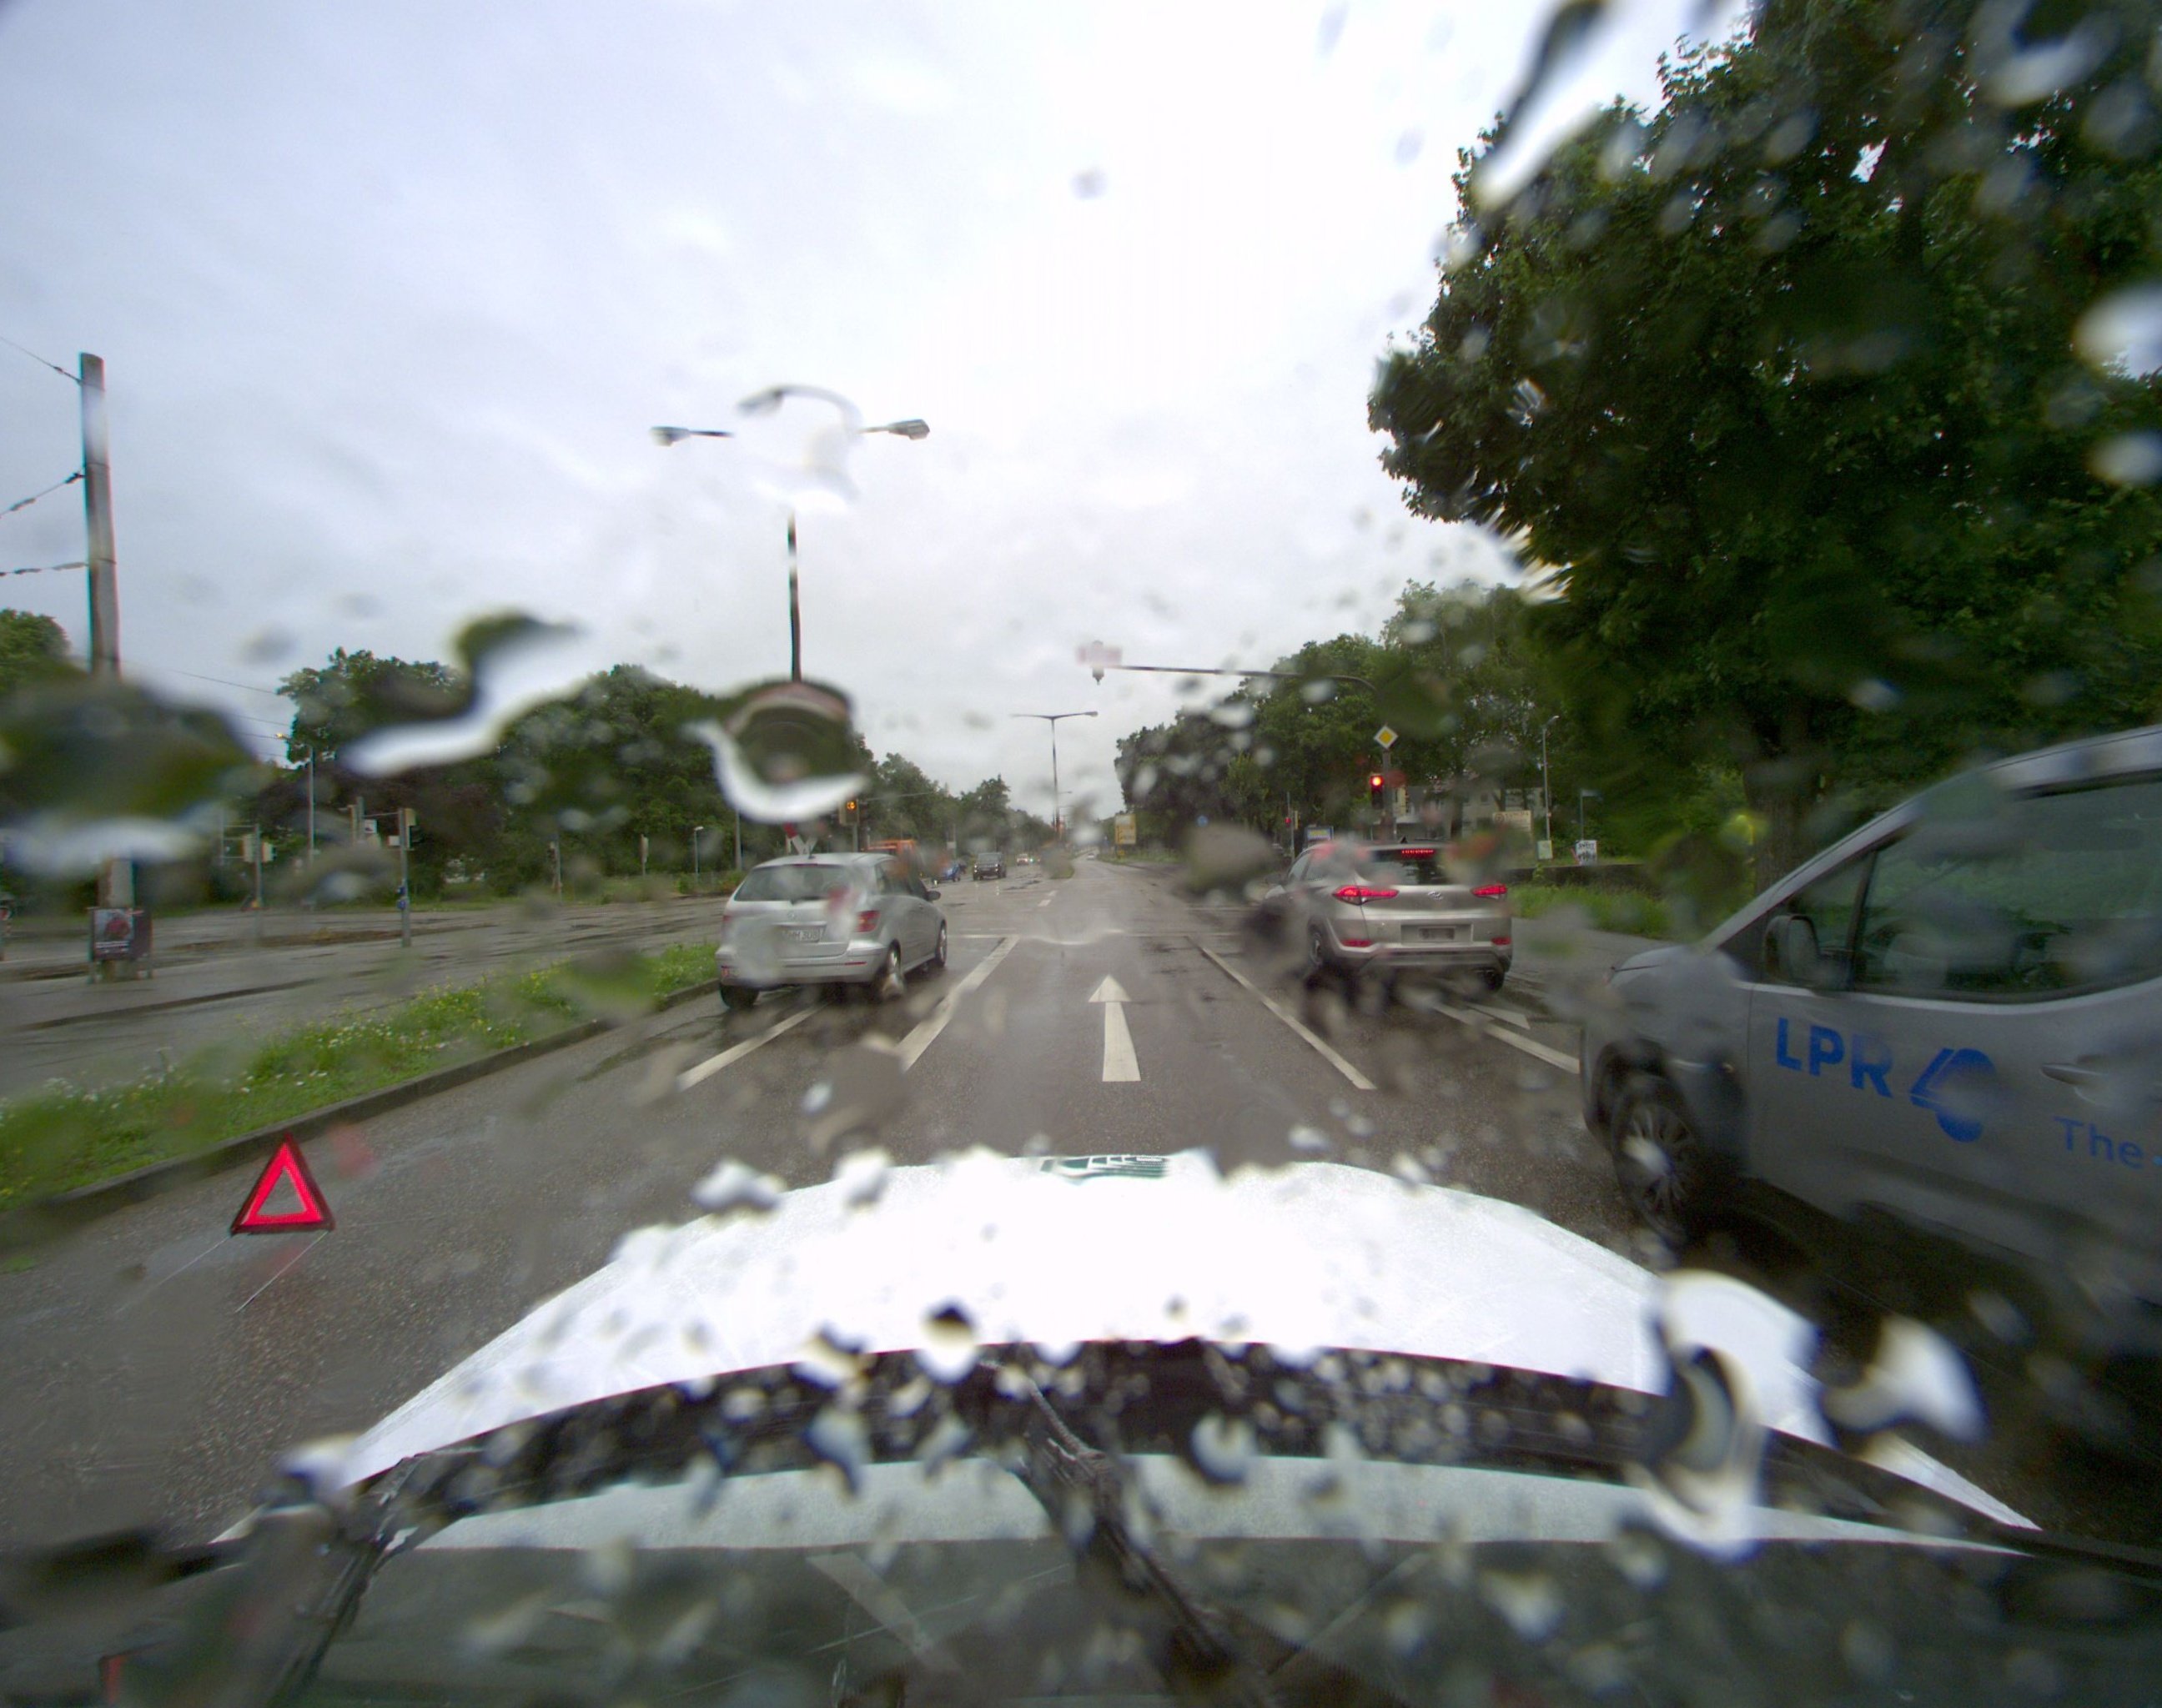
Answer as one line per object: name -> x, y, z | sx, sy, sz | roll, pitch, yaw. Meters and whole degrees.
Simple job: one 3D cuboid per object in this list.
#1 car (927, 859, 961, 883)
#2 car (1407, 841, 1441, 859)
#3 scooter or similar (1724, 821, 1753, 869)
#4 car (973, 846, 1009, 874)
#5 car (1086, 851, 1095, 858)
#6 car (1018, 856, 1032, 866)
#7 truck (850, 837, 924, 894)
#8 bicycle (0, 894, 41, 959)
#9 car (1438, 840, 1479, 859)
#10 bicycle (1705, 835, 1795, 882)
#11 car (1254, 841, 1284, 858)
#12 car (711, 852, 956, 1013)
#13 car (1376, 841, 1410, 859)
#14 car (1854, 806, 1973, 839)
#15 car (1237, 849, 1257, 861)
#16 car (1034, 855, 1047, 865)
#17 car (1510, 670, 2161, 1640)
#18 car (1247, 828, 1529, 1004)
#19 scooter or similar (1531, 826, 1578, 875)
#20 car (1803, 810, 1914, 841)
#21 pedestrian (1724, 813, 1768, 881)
car -> -9.369, 1.138, 56.064 | 1.636, 1.427, 3.997 | -4, 0, -2
car -> 28.699, -0.339, 68.149 | 1.648, 1.449, 3.776 | -1, -1, 39
scooter or similar -> 16.378, -0.216, 20.293 | 0.284, 1.176, 0.561 | -2, 0, 7
car -> -6.223, 0.418, 56.941 | 1.800, 1.773, 5.089 | -4, 0, 0
car -> 2.117, 0.108, 175.451 | 1.900, 1.515, 4.001 | -2, 0, 1
car -> -9.443, 1.175, 136.639 | 1.887, 1.611, 4.501 | -2, 0, 1
truck -> -15.331, 0.870, 65.409 | 3.374, 4.167, 10.405 | 0, 0, 0
bicycle -> -30.234, 2.041, 22.506 | 0.637, 1.761, 1.735 | -2, 0, 2
car -> 30.543, -0.372, 65.808 | 3.772, 1.449, 1.650 | 0, -1, -42
bicycle -> 17.292, 0.132, 21.063 | 0.794, 1.038, 1.644 | -6, 0, -44
car -> 20.919, -0.497, 90.831 | 1.988, 1.717, 4.875 | -3, 0, -2
car -> -2.761, 0.774, 10.070 | 1.730, 1.544, 4.013 | -2, 0, 0
car -> 26.603, -0.312, 69.413 | 1.648, 1.449, 3.776 | -1, -1, 39
car -> 42.329, -1.566, 41.448 | 4.583, 1.583, 1.920 | 0, -1, -8
car -> 21.280, 0.120, 104.671 | 1.633, 1.486, 4.070 | 0, 0, -2
car -> -6.819, 1.073, 136.823 | 1.795, 1.569, 4.427 | -4, -1, 0
car -> 2.985, 0.545, 1.536 | 1.987, 1.795, 4.562 | -1, 0, 1
car -> 3.285, 0.597, 9.682 | 1.877, 1.610, 4.197 | -1, -1, 2
scooter or similar -> 12.200, -0.086, 20.985 | 0.953, 1.229, 0.322 | -2, 0, 5
car -> 41.967, -1.543, 44.010 | 4.583, 1.583, 1.920 | 0, -1, -8
pedestrian -> 17.228, -0.181, 21.097 | 0.794, 1.678, 0.661 | -6, 0, -44
